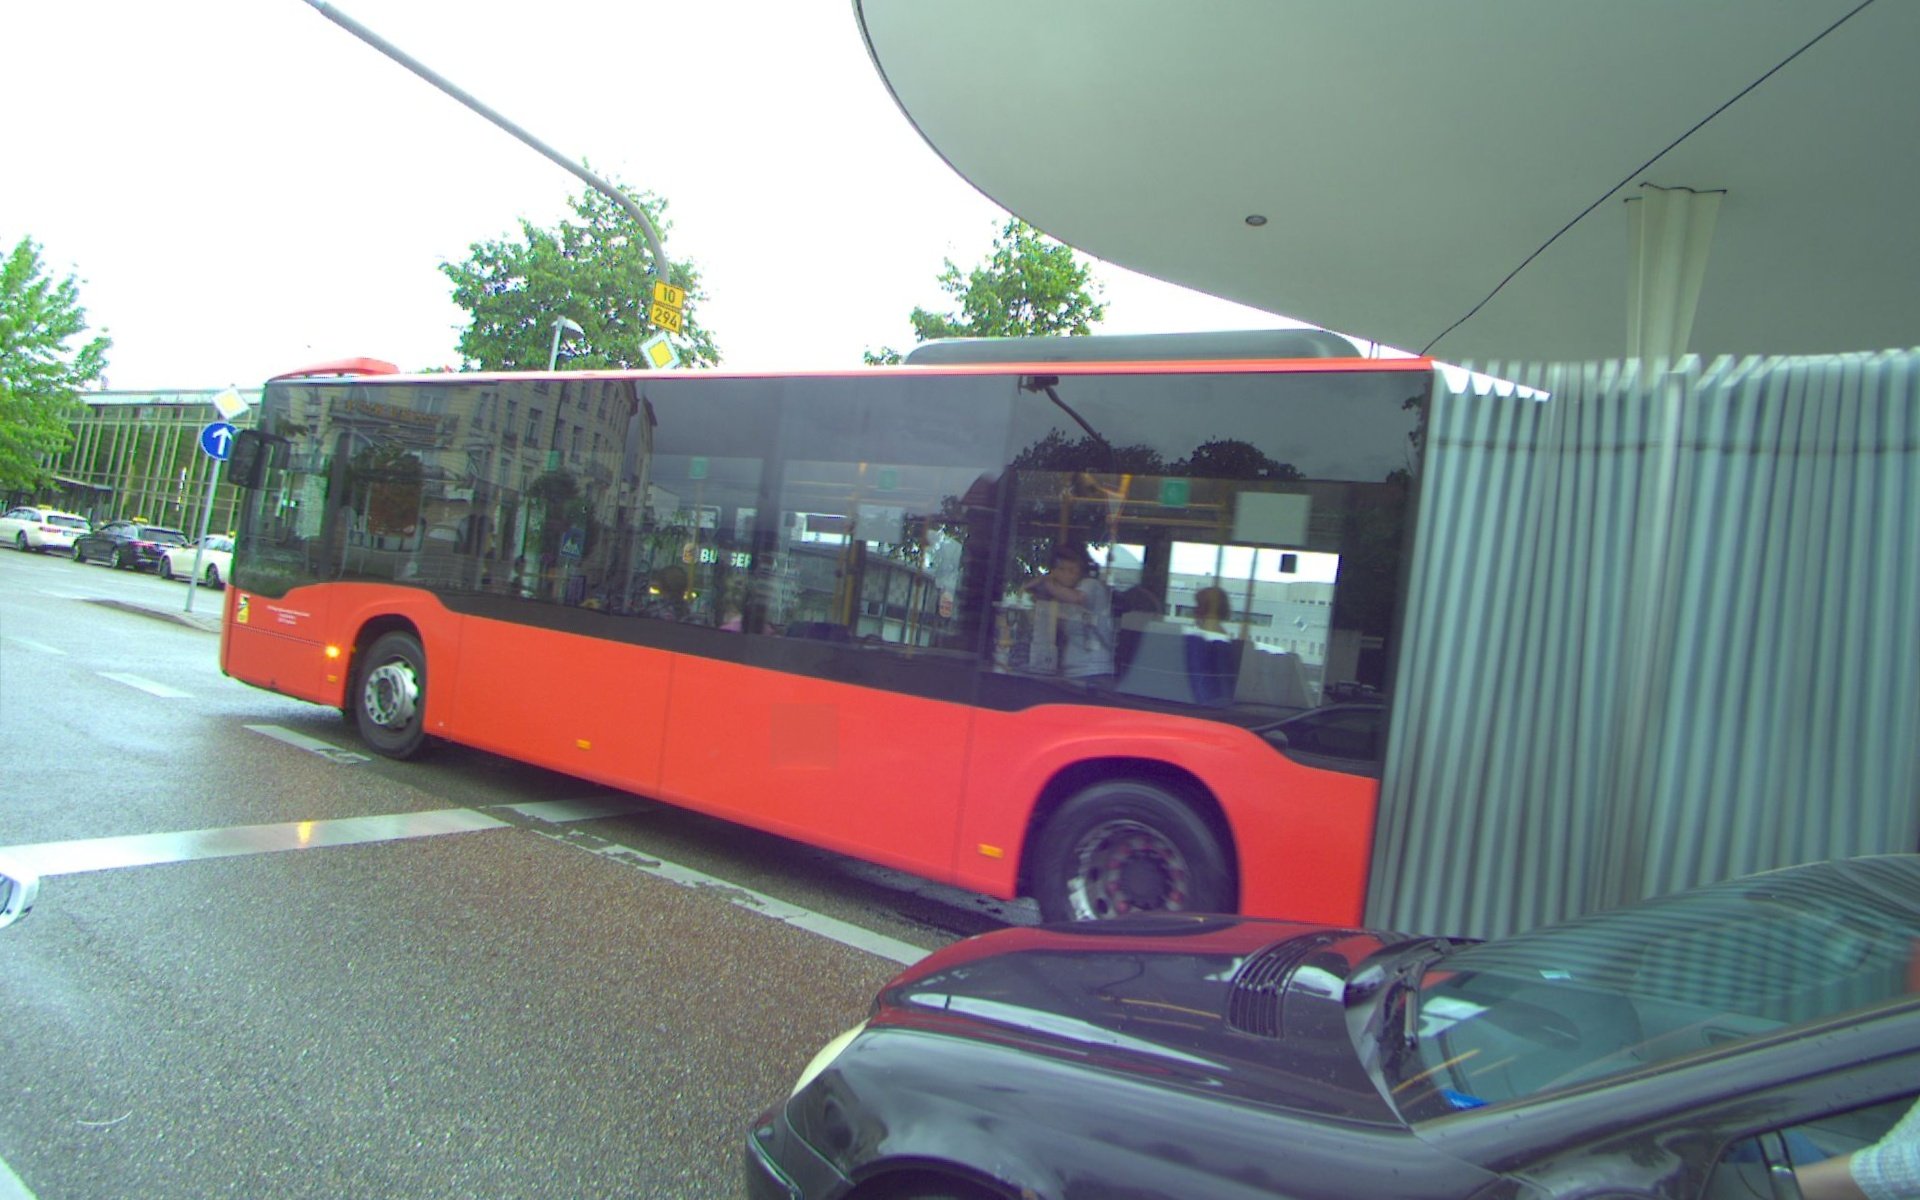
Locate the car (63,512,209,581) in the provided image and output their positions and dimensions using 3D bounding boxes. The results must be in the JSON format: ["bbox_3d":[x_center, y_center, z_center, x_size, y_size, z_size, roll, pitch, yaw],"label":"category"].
[{"bbox_3d":[-25.842,-1.696,31.521,4.662,1.542,1.918,7,-2,30],"label":"car"}]

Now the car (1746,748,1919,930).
[{"bbox_3d":[11.229,2.792,10.560,4.360,1.665,1.807,7,-5,32],"label":"car"}]

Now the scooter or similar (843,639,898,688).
[{"bbox_3d":[-2.465,1.756,27.756,1.309,1.167,0.465,9,-2,-21],"label":"scooter or similar"}]

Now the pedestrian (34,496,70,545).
[{"bbox_3d":[-40.823,-3.576,45.220,0.814,2.037,0.771,7,-1,30],"label":"pedestrian"}]

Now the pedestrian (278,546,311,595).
[{"bbox_3d":[-24.263,-1.069,36.681,0.703,1.665,0.565,7,-1,27],"label":"pedestrian"}]

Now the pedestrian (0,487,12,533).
[{"bbox_3d":[-52.646,-4.955,54.919,0.848,2.439,0.844,7,-1,34],"label":"pedestrian"}]

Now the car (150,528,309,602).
[{"bbox_3d":[-20.635,-1.001,28.379,4.588,1.468,1.851,7,-2,30],"label":"car"}]

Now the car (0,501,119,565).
[{"bbox_3d":[-31.437,-2.371,34.533,4.736,1.618,2.000,7,-2,25],"label":"car"}]

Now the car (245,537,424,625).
[{"bbox_3d":[-15.857,-0.505,25.452,4.538,1.608,1.779,7,-2,30],"label":"car"}]

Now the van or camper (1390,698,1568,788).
[{"bbox_3d":[20.335,5.546,39.539,5.873,2.491,2.108,7,-2,32],"label":"van or camper"}]

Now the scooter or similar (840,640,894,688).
[{"bbox_3d":[-2.633,1.806,28.415,1.313,1.157,0.464,9,-2,-31],"label":"scooter or similar"}]

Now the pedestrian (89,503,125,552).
[{"bbox_3d":[-37.741,-3.202,44.503,0.814,2.037,0.771,7,-1,30],"label":"pedestrian"}]

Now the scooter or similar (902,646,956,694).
[{"bbox_3d":[-0.953,2.161,31.169,1.503,1.284,0.467,8,-1,-4],"label":"scooter or similar"}]

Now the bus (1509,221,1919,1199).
[{"bbox_3d":[6.199,0.871,2.662,7.984,3.210,2.749,7,-2,31],"label":"bus"}]

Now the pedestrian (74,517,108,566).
[{"bbox_3d":[-33.026,-2.238,38.248,0.703,1.729,0.566,7,-2,27],"label":"pedestrian"}]

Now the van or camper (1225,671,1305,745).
[{"bbox_3d":[12.536,4.410,41.008,2.072,2.491,5.975,7,-3,25],"label":"van or camper"}]

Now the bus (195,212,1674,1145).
[{"bbox_3d":[-1.348,-0.095,7.195,10.023,3.210,2.749,7,-2,31],"label":"bus"}]

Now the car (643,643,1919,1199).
[{"bbox_3d":[1.738,1.139,1.486,4.362,1.494,1.753,5,-7,32],"label":"car"}]
